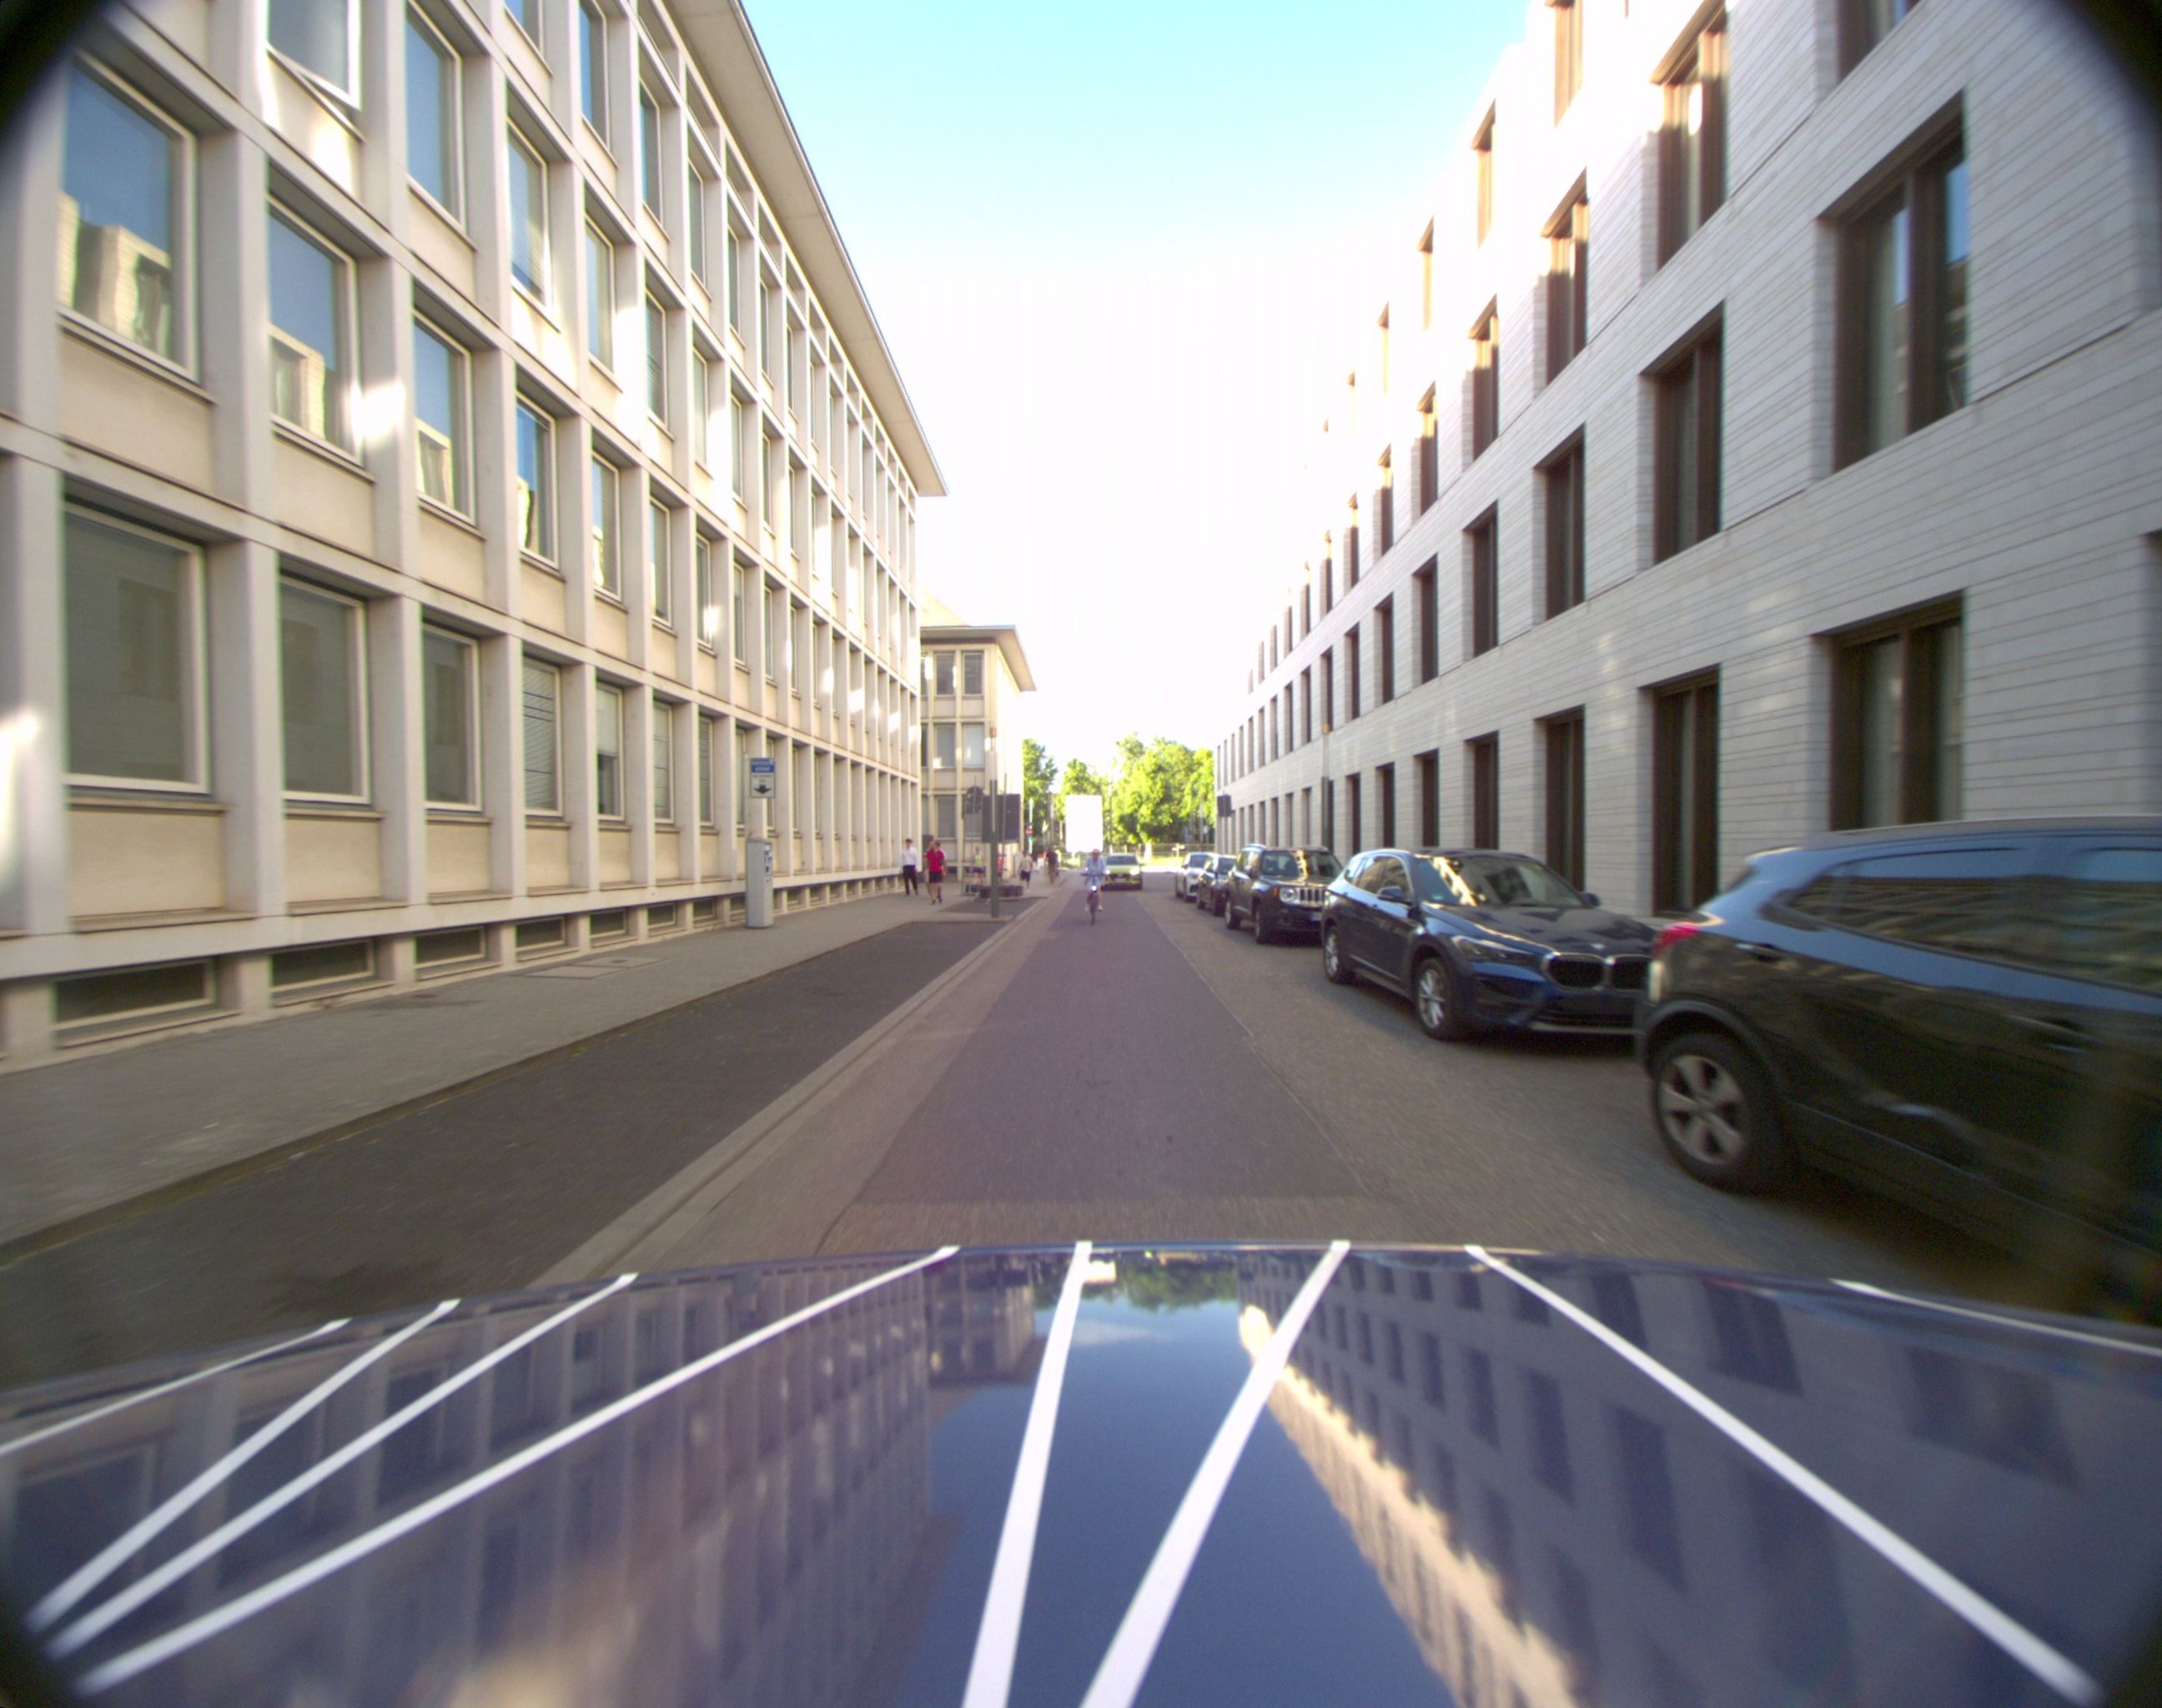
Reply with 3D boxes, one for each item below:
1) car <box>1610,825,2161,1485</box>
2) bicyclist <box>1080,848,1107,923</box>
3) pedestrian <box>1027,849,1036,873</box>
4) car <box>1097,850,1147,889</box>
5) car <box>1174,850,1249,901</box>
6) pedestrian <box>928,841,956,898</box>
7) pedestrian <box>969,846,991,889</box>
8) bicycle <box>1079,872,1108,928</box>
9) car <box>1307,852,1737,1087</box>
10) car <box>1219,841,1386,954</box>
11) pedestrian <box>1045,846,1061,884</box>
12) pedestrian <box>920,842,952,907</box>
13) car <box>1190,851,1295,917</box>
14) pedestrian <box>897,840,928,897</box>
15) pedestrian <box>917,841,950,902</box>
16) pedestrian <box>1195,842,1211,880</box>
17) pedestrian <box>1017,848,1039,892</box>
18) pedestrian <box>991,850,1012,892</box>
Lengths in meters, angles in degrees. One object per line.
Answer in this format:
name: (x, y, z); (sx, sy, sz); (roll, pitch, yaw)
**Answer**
car: (3.661, 0.782, 1.856); (1.827, 1.668, 4.264); (1, 0, 2)
bicyclist: (0.288, 0.719, 17.435); (0.585, 1.679, 0.538); (-1, 2, 1)
pedestrian: (-3.449, 0.457, 53.104); (0.626, 1.633, 0.623); (-2, 2, -4)
car: (1.721, 0.630, 33.242); (1.998, 1.451, 4.435); (-1, 2, 1)
car: (4.249, 0.656, 25.378); (1.827, 1.532, 4.446); (1, 0, 2)
pedestrian: (-4.431, 0.478, 24.276); (0.684, 1.768, 0.693); (2, 1, 3)
pedestrian: (-4.057, 0.534, 30.575); (0.684, 1.706, 0.693); (3, 1, 3)
bicycle: (0.284, 1.004, 17.234); (0.595, 1.077, 2.310); (-1, 2, 1)
car: (3.675, 0.795, 7.348); (1.744, 1.585, 4.154); (1, 0, 1)
car: (3.817, 0.668, 13.845); (1.827, 1.704, 4.017); (1, 0, 0)
pedestrian: (-1.366, 0.526, 37.070); (0.643, 1.780, 0.575); (2, 2, 2)
pedestrian: (-4.063, 0.562, 21.308); (0.684, 1.768, 0.593); (3, 1, 3)
car: (4.097, 0.691, 19.951); (1.827, 1.532, 4.263); (-1, 0, 0)
pedestrian: (-5.386, 0.452, 24.293); (0.684, 1.768, 0.693); (5, 1, 3)
pedestrian: (-4.429, 0.508, 22.812); (0.684, 1.768, 0.693); (5, 1, 3)
pedestrian: (5.860, 0.341, 36.520); (0.645, 1.780, 0.816); (-1, 2, 2)
pedestrian: (-2.102, 0.625, 29.965); (0.684, 1.706, 0.693); (3, 1, 3)
pedestrian: (-3.214, 0.685, 30.616); (0.684, 1.627, 0.693); (2, 1, 3)
